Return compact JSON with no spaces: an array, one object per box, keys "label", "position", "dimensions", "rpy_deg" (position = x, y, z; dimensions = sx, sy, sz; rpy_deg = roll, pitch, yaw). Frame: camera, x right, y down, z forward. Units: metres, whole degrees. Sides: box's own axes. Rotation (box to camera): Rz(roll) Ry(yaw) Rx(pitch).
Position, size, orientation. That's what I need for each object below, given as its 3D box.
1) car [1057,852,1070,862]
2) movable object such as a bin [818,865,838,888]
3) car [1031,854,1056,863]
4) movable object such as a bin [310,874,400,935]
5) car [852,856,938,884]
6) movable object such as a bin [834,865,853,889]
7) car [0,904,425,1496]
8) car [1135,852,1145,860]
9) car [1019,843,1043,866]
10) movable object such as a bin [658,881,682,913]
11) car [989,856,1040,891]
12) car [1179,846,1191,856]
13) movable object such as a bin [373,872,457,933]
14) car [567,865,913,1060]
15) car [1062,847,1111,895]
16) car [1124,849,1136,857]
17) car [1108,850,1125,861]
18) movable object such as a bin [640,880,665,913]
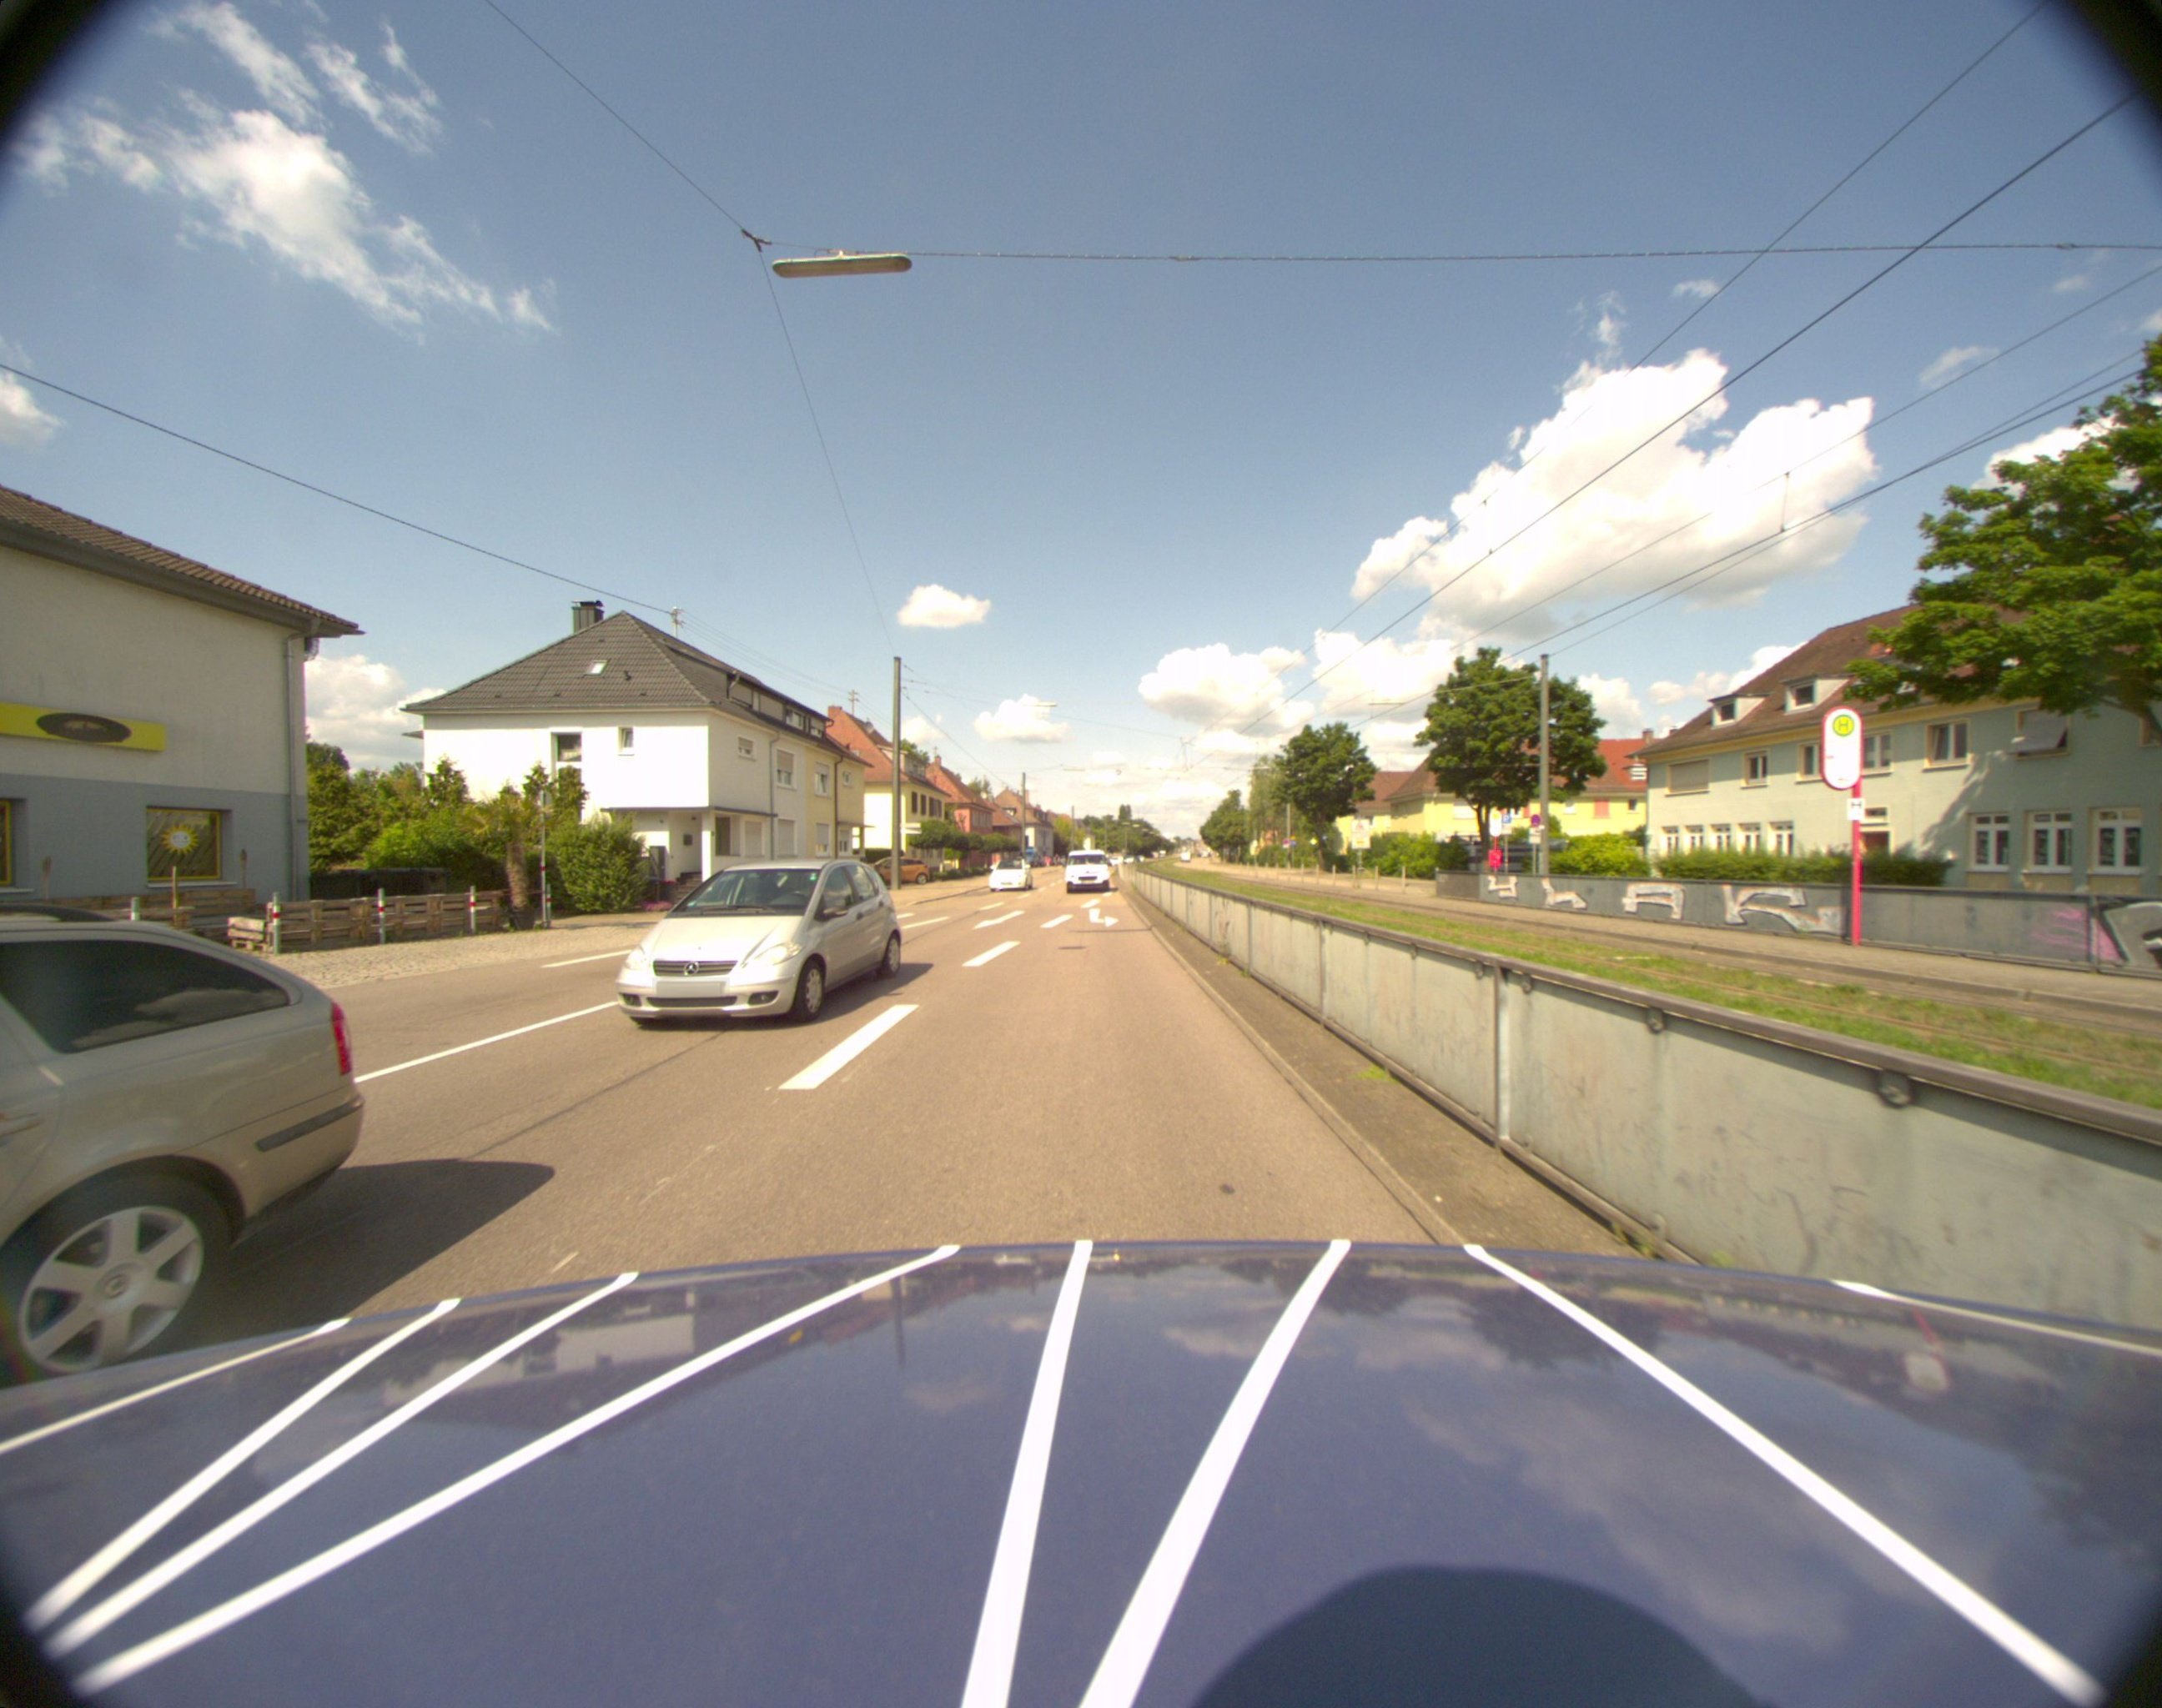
[{"label":"car","position":[-3.061,0.496,132.774],"dimensions":[1.760,1.637,4.770],"rpy_deg":[1,1,4]},{"label":"movable object such as a bin","position":[-11.564,1.029,34.750],"dimensions":[0.647,1.049,0.659],"rpy_deg":[-1,1,0]},{"label":"car","position":[-5.818,0.726,117.220],"dimensions":[3.657,1.372,1.727],"rpy_deg":[-1,1,4]},{"label":"movable object such as a bin","position":[-16.302,1.114,17.080],"dimensions":[1.207,1.324,0.888],"rpy_deg":[0,-2,9]},{"label":"car","position":[-10.040,0.863,41.158],"dimensions":[4.102,1.449,1.911],"rpy_deg":[1,-1,-40]},{"label":"movable object such as a bin","position":[-10.858,1.040,34.782],"dimensions":[0.640,1.041,0.685],"rpy_deg":[-1,1,0]},{"label":"car","position":[-3.765,0.986,0.996],"dimensions":[1.743,1.484,4.629],"rpy_deg":[-1,0,0]},{"label":"car","position":[13.261,0.441,170.117],"dimensions":[1.997,1.477,4.002],"rpy_deg":[-2,1,8]},{"label":"car","position":[-6.572,-0.018,100.692],"dimensions":[2.156,2.913,6.246],"rpy_deg":[-2,1,6]},{"label":"movable object such as a bin","position":[-12.090,1.254,22.356],"dimensions":[0.446,0.890,0.546],"rpy_deg":[0,1,-4]},{"label":"car","position":[-3.175,0.892,36.919],"dimensions":[1.777,1.540,4.001],"rpy_deg":[-2,0,4]},{"label":"car","position":[24.462,-0.687,178.228],"dimensions":[2.201,2.358,5.332],"rpy_deg":[1,1,1]},{"label":"movable object such as a bin","position":[-14.914,1.072,17.034],"dimensions":[1.084,1.324,0.887],"rpy_deg":[0,-2,2]},{"label":"car","position":[-3.347,0.950,8.470],"dimensions":[1.791,1.567,4.095],"rpy_deg":[-1,0,3]},{"label":"car","position":[0.302,0.655,32.324],"dimensions":[1.777,1.850,4.376],"rpy_deg":[-2,0,4]},{"label":"car","position":[9.898,-0.204,152.738],"dimensions":[1.997,1.477,4.002],"rpy_deg":[-2,1,8]},{"label":"car","position":[5.198,0.193,110.948],"dimensions":[1.997,1.576,4.002],"rpy_deg":[-2,1,9]},{"label":"movable object such as a bin","position":[-12.595,1.250,22.361],"dimensions":[0.442,0.929,0.549],"rpy_deg":[0,1,-4]}]
